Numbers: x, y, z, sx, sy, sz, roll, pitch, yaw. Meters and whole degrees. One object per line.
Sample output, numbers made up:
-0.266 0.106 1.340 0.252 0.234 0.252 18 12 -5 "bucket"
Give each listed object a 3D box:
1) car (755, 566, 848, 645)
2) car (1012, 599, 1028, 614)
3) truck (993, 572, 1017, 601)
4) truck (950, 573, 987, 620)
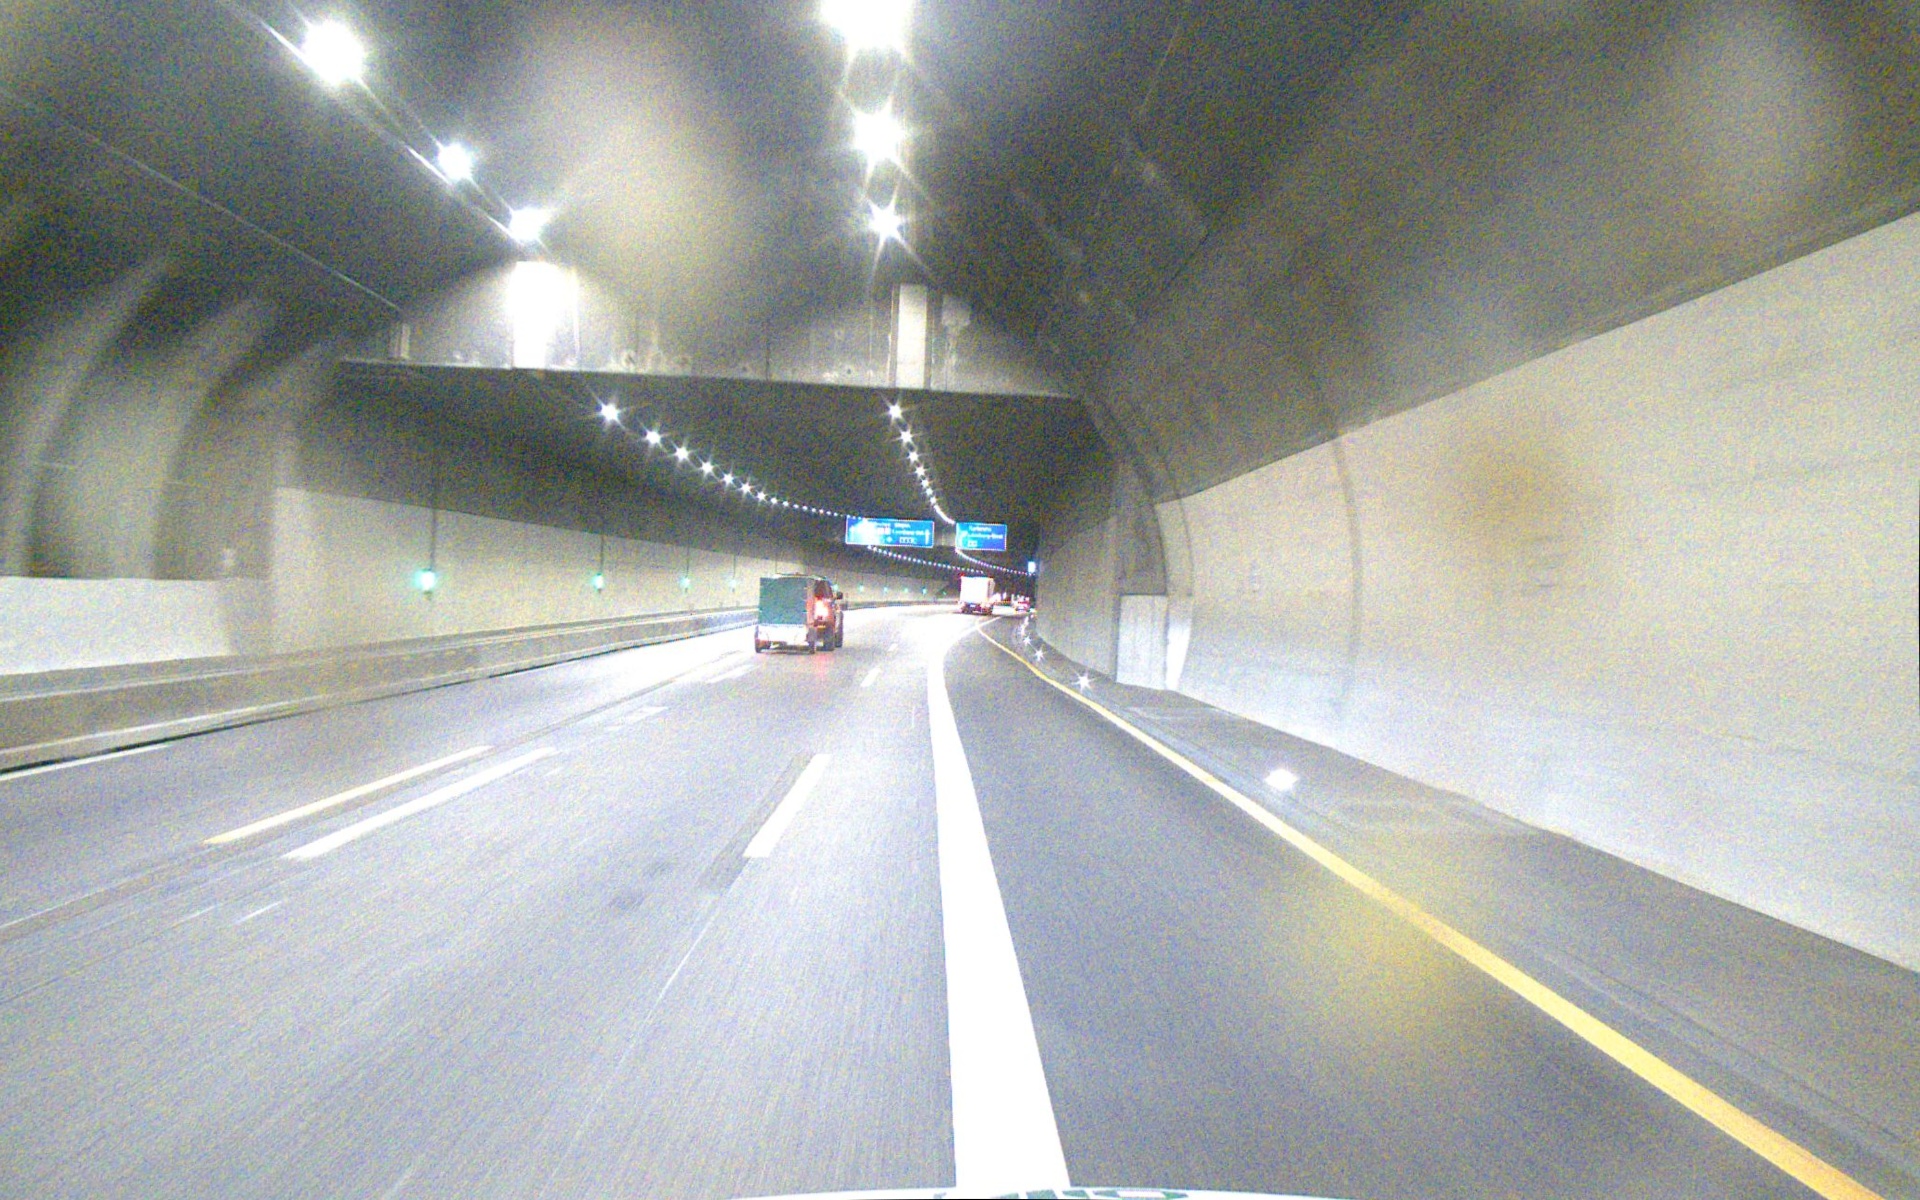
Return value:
-4.181 0.207 44.534 1.953 1.928 5.452 1 -2 0 "car"
8.065 0.926 223.398 1.951 1.928 5.535 1 0 4 "car"
7.012 -2.160 260.215 3.403 4.391 10.950 0 1 -1 "truck"
0.840 -0.423 162.915 3.403 4.391 10.952 2 1 0 "truck"
